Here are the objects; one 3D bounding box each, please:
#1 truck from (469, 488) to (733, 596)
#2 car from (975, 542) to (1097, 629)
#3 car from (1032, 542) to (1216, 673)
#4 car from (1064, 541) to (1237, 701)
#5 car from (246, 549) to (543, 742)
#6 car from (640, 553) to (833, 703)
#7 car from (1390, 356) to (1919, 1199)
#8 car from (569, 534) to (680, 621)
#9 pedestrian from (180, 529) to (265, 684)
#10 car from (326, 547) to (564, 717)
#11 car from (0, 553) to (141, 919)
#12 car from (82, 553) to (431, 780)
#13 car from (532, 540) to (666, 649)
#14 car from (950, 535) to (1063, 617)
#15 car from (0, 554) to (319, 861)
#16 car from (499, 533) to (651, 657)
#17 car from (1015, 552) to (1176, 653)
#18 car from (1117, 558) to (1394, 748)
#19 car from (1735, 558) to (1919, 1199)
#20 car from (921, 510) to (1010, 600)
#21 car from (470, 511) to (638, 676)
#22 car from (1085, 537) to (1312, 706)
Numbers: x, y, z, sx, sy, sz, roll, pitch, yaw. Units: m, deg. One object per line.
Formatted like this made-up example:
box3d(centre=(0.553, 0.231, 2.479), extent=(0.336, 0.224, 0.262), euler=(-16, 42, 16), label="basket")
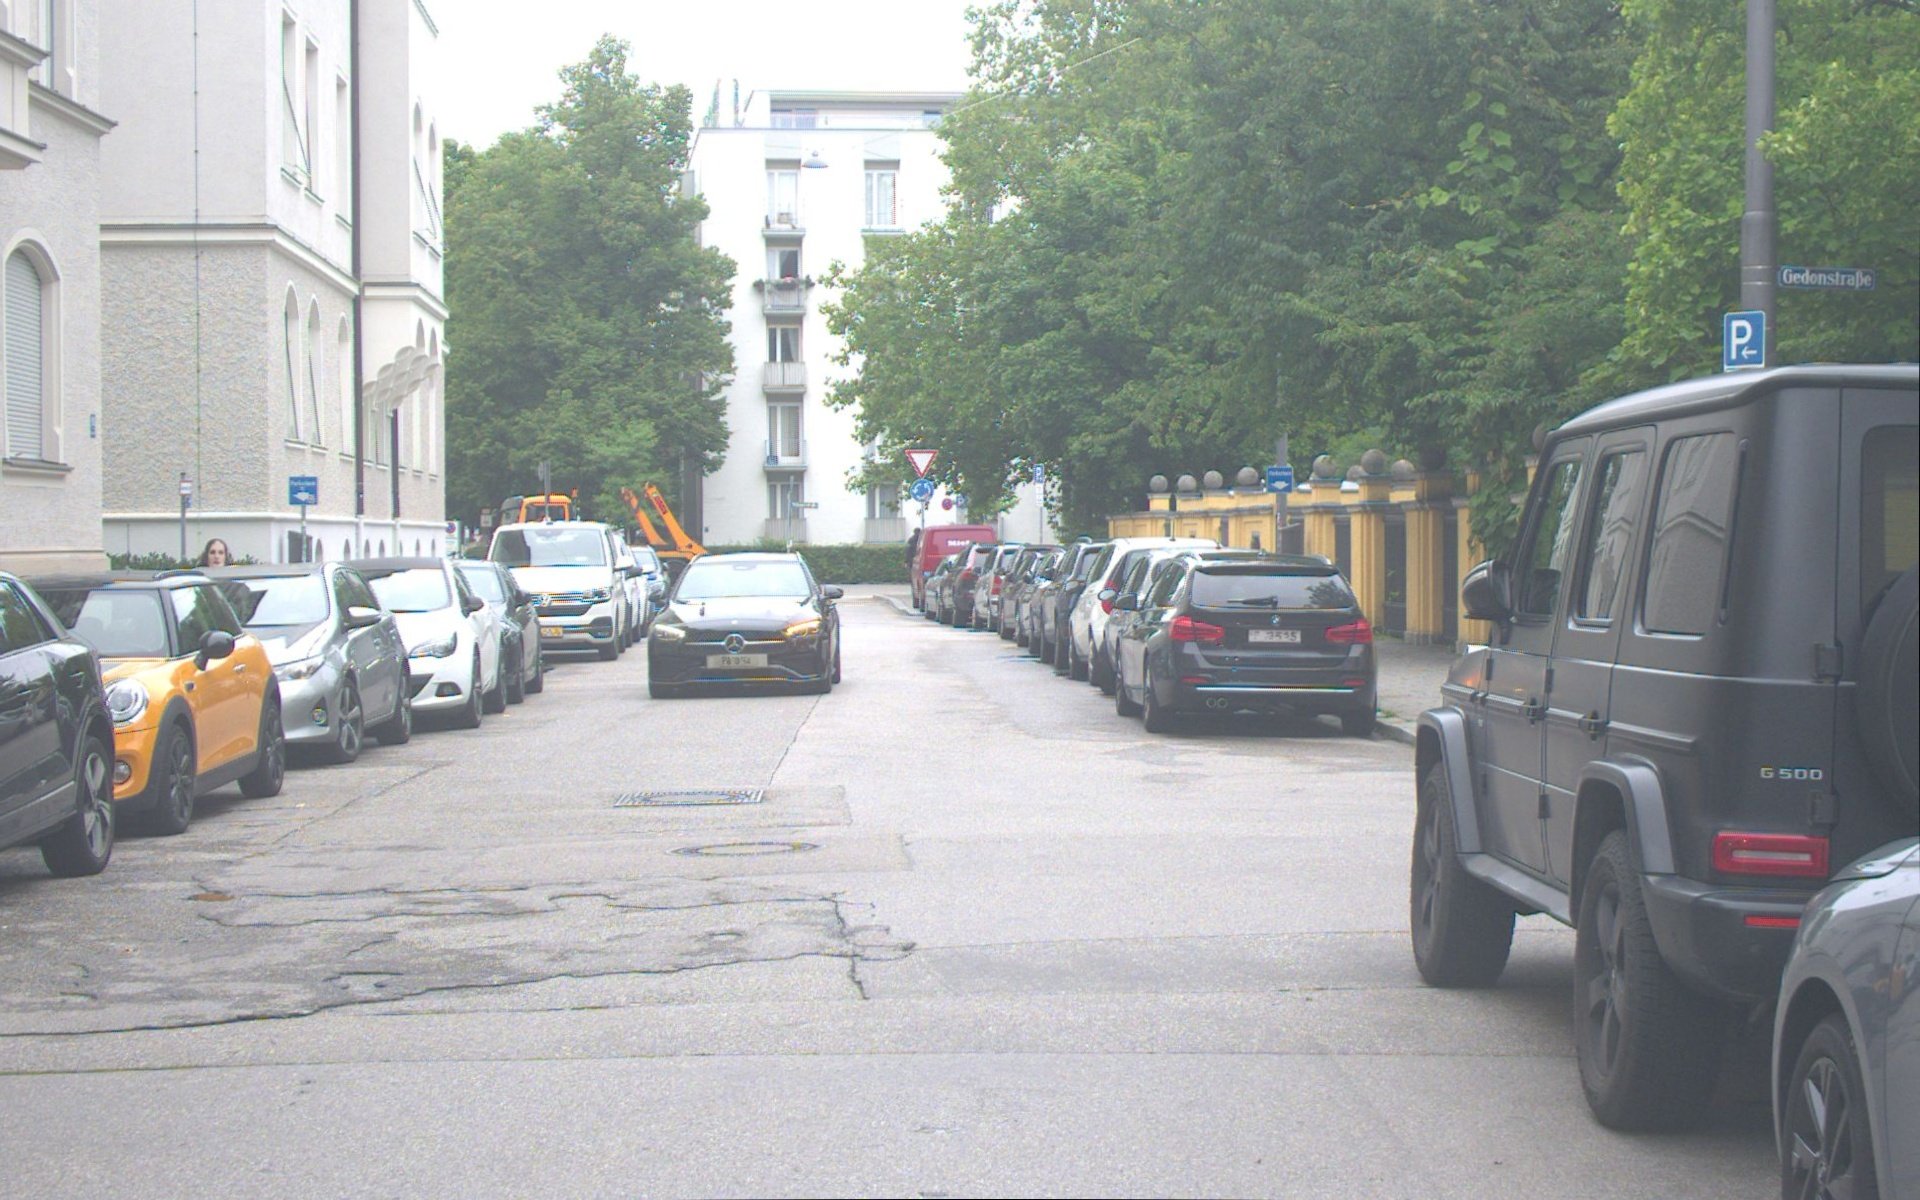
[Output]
box3d(centre=(-11.179, -1.833, 106.967), extent=(7.668, 3.230, 2.900), euler=(-1, 1, -19), label="truck")
box3d(centre=(1.351, -0.282, 62.580), extent=(1.838, 1.513, 3.948), euler=(1, 1, -4), label="car")
box3d(centre=(2.005, 0.069, 43.109), extent=(1.838, 1.546, 3.948), euler=(1, 1, -4), label="car")
box3d(centre=(2.054, 0.198, 37.920), extent=(1.513, 1.656, 3.674), euler=(1, 1, -3), label="car")
box3d(centre=(-4.898, 0.340, 30.353), extent=(1.836, 1.433, 4.275), euler=(-3, 2, 0), label="car")
box3d(centre=(-2.294, 0.244, 35.892), extent=(1.874, 1.423, 4.409), euler=(-1, 1, -3), label="car")
box3d(centre=(2.574, 0.360, 10.015), extent=(1.950, 1.947, 4.666), euler=(1, 2, -1), label="car")
box3d(centre=(-7.040, -0.501, 72.501), extent=(2.015, 1.628, 4.414), euler=(-3, 2, -2), label="car")
box3d(centre=(-8.075, 0.065, 37.661), extent=(0.792, 1.673, 0.700), euler=(-1, 1, -4), label="pedestrian")
box3d(centre=(-5.197, 0.274, 35.169), extent=(1.836, 1.494, 4.275), euler=(-3, 2, -2), label="car")
box3d(centre=(-4.908, 0.609, 14.752), extent=(1.753, 1.494, 4.019), euler=(-2, 2, 0), label="car")
box3d(centre=(-5.108, 0.426, 25.458), extent=(1.726, 1.494, 3.930), euler=(-2, 1, 0), label="car")
box3d(centre=(-6.340, -0.133, 60.786), extent=(2.015, 1.720, 4.275), euler=(-3, 2, -2), label="car")
box3d(centre=(0.873, -0.474, 66.621), extent=(1.838, 1.513, 3.948), euler=(1, 1, -4), label="car")
box3d(centre=(-4.961, 0.556, 19.886), extent=(1.640, 1.494, 3.972), euler=(-3, 2, 1), label="car")
box3d(centre=(-6.101, -0.118, 54.981), extent=(2.015, 1.765, 4.414), euler=(-3, 2, -2), label="car")
box3d(centre=(1.880, 0.010, 48.678), extent=(1.838, 1.341, 3.948), euler=(1, 1, -4), label="car")
box3d(centre=(2.335, 0.377, 28.177), extent=(1.838, 1.408, 4.343), euler=(1, 1, 0), label="car")
box3d(centre=(2.534, 0.727, 5.240), extent=(1.722, 1.513, 3.631), euler=(2, 1, -2), label="car")
box3d(centre=(0.149, -1.057, 78.535), extent=(1.836, 1.920, 4.005), euler=(2, 2, 2), label="car")
box3d(centre=(-5.691, -0.144, 48.701), extent=(1.886, 2.120, 4.707), euler=(-3, 2, -2), label="car")
box3d(centre=(2.244, 0.172, 33.191), extent=(1.652, 1.513, 3.796), euler=(1, 1, -4), label="car")
